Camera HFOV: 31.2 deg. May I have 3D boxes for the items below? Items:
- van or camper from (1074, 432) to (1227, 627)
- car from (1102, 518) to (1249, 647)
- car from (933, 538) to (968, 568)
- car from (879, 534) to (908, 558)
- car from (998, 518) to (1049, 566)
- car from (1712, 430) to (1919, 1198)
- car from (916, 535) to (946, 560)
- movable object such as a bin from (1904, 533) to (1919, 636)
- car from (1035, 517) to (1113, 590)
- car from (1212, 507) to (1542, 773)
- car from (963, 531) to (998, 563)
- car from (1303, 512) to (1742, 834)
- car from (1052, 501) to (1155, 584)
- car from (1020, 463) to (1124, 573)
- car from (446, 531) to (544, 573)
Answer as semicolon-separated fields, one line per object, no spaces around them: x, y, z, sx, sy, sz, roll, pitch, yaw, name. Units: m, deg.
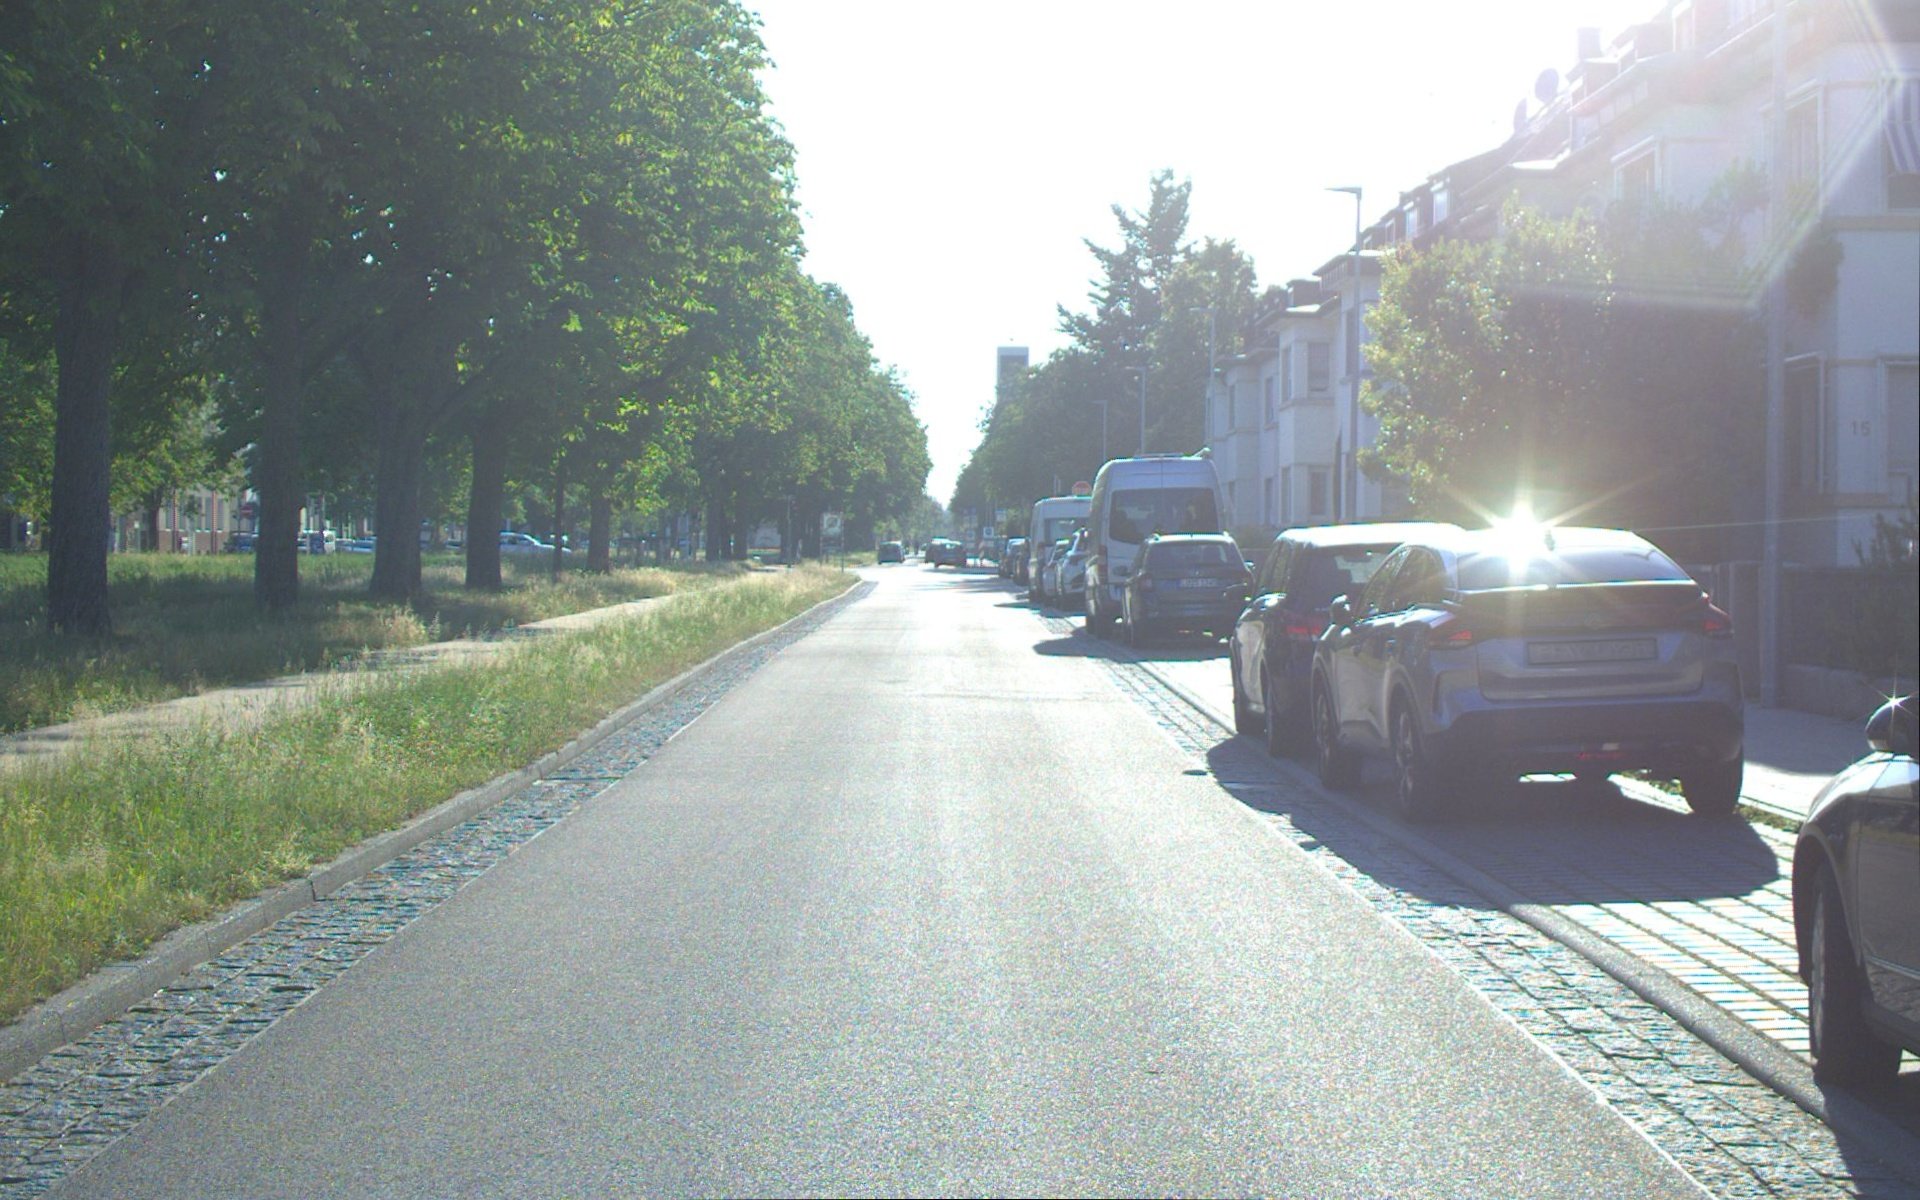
2.847;-1.066;52.518;1.943;2.768;5.940;1;1;0;van or camper
2.855;-0.270;46.227;1.663;1.587;4.086;-2;1;0;car
-0.526;-2.581;188.721;1.863;1.591;3.894;1;1;-1;car
-4.462;-3.614;230.187;1.863;1.591;3.870;1;1;-1;car
2.117;-1.956;114.545;1.650;1.525;3.851;-1;2;1;car
3.079;0.475;7.570;1.794;1.765;4.473;-2;2;0;car
-1.881;-3.379;220.730;1.863;1.591;3.870;1;1;-1;car
10.808;-0.161;37.191;0.985;1.096;0.789;1;1;4;movable object such as a bin
2.528;-1.055;76.712;1.650;1.525;3.851;-1;2;1;car
2.959;0.212;25.268;1.832;1.679;4.415;2;2;0;car
1.039;-2.636;170.376;1.650;1.525;3.851;-1;2;1;car
3.058;0.323;19.502;1.718;1.568;4.211;-2;1;0;car
2.943;-1.214;71.225;1.837;1.630;4.132;-1;2;-2;car
2.655;-1.985;82.851;2.126;2.524;5.189;-1;2;-2;car
-21.068;-2.173;155.645;4.345;1.758;2.001;1;1;-8;car
